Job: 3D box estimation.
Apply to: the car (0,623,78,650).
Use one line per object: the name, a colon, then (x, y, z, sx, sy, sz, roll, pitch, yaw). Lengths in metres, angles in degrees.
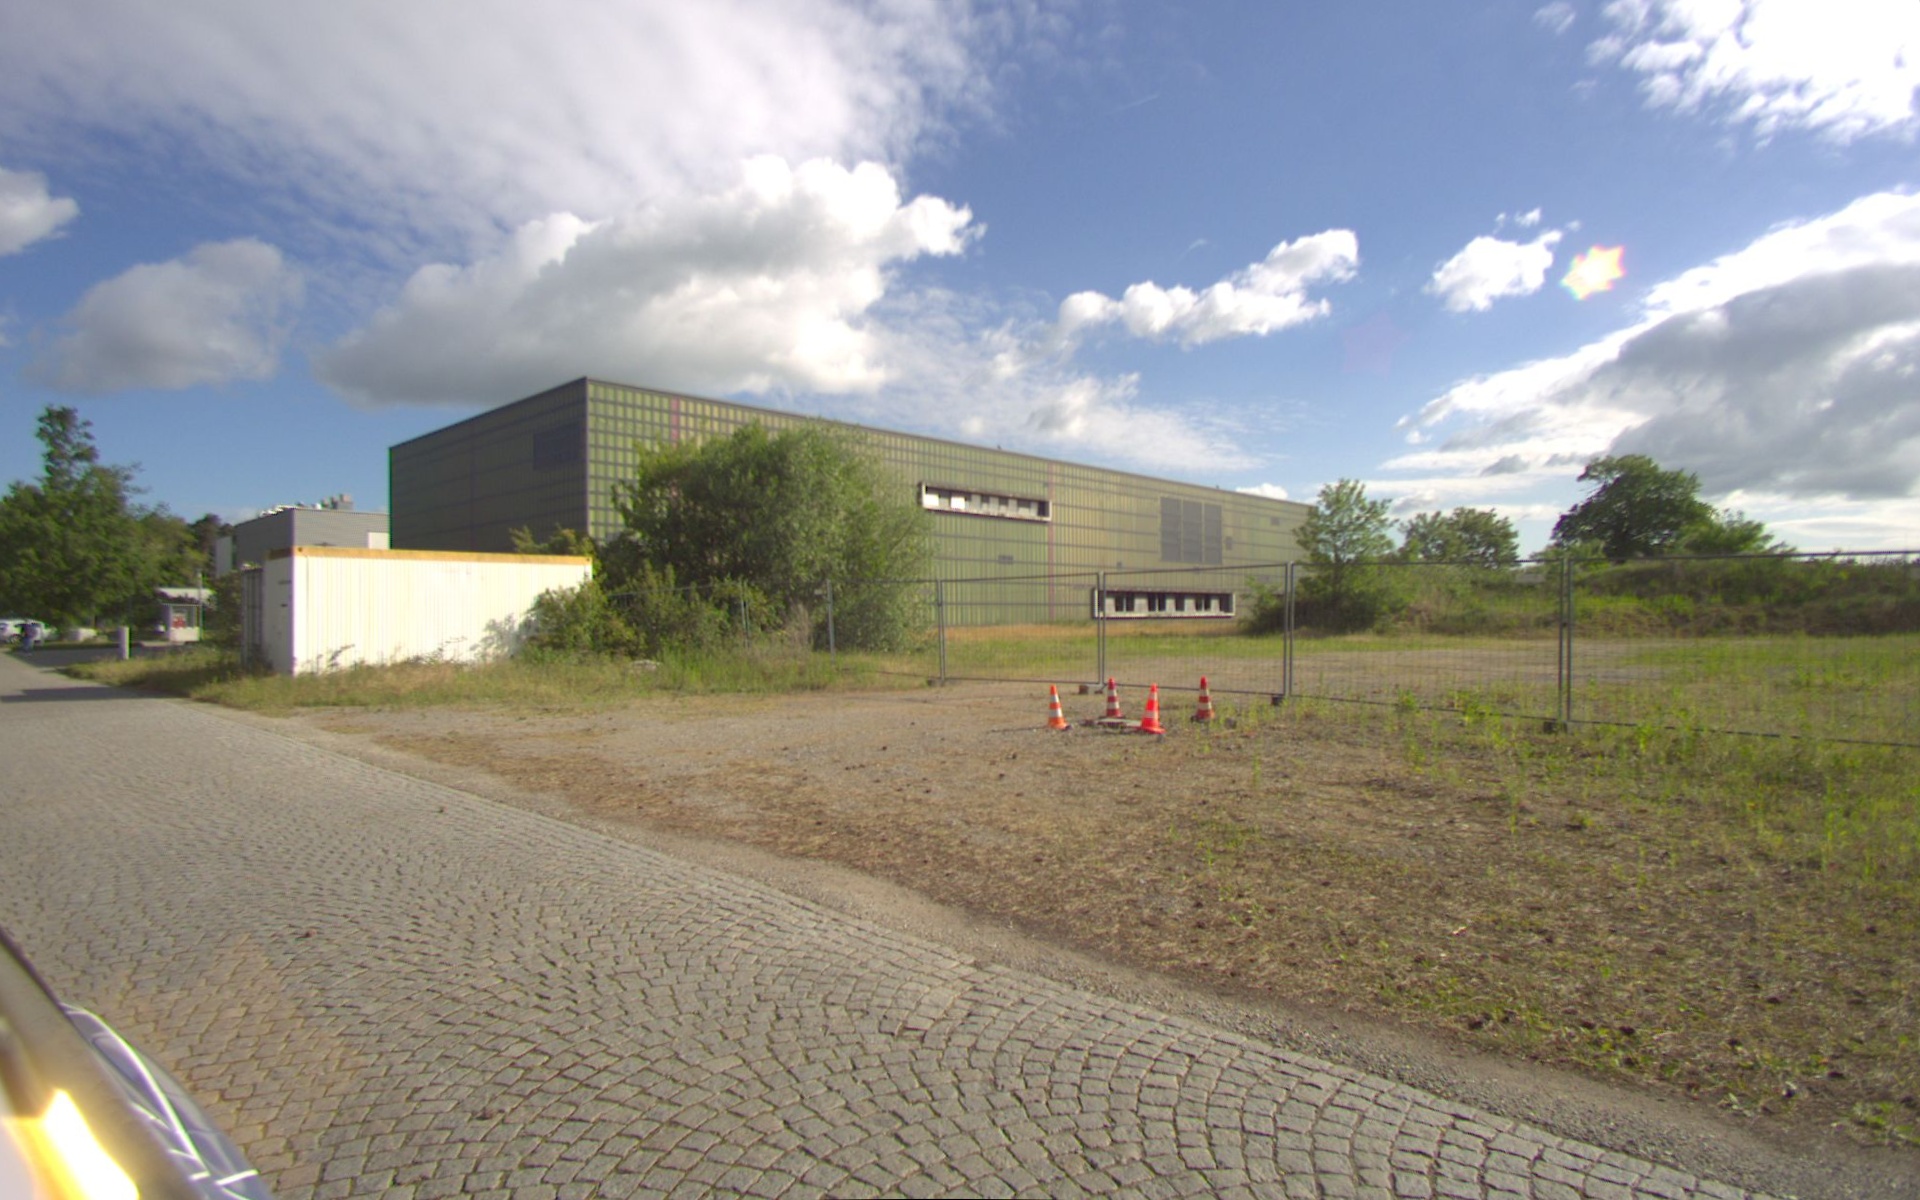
car: (-60.379, 2.381, 66.203, 3.940, 1.701, 2.002, 1, -2, -44)

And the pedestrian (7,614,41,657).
pedestrian: (-40.377, 1.520, 43.643, 0.982, 1.821, 0.897, -1, -2, 36)
